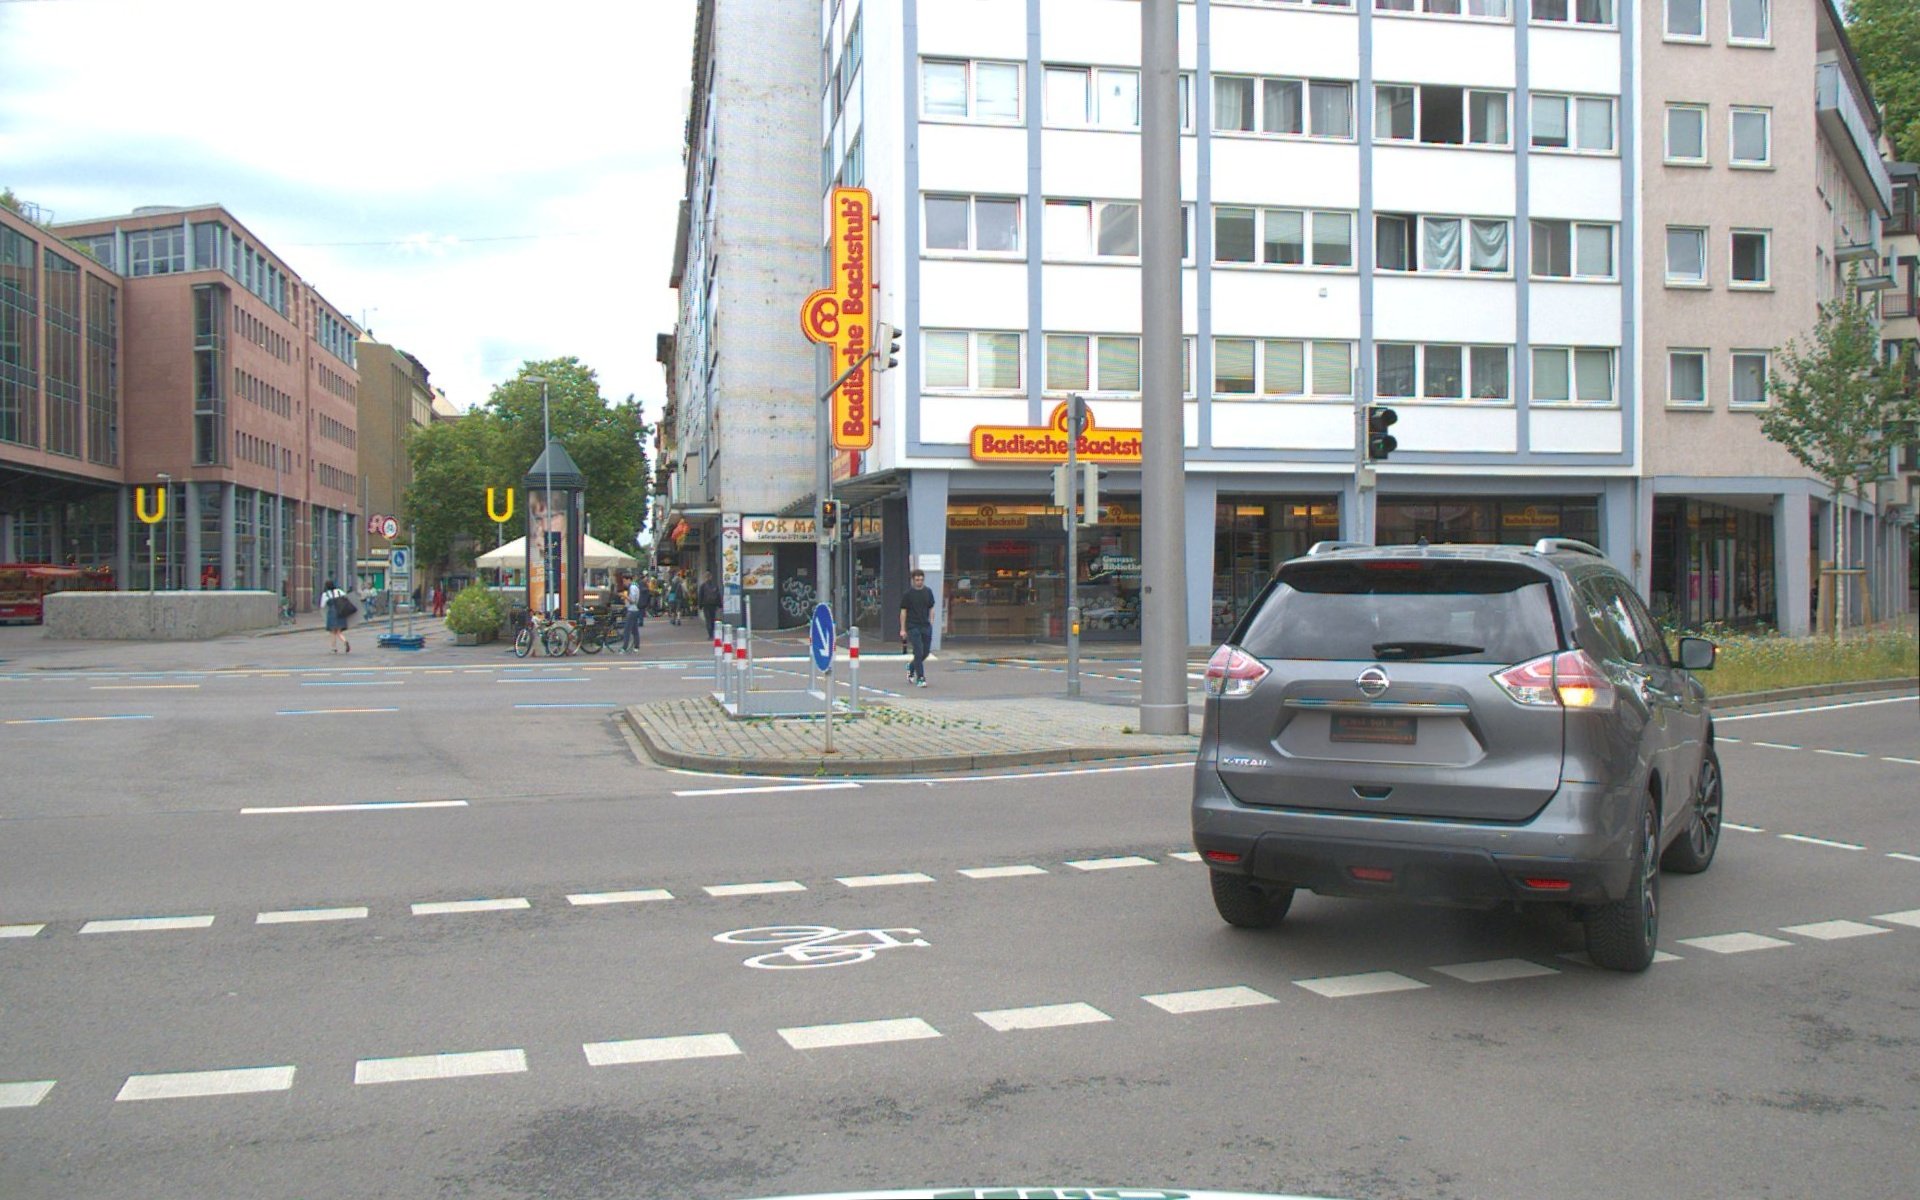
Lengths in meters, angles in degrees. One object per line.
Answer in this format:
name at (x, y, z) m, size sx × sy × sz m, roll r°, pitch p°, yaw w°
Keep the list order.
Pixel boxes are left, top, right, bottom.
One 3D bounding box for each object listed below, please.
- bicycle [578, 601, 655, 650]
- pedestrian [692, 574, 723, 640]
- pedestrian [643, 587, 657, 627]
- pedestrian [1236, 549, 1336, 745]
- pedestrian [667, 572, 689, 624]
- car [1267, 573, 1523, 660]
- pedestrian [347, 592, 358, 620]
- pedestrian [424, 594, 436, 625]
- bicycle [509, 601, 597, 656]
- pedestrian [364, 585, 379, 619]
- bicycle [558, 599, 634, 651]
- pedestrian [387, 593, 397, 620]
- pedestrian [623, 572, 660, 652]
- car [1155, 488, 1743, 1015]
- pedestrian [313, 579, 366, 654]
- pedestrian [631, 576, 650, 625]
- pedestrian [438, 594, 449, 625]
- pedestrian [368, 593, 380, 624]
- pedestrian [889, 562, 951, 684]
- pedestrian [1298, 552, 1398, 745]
bicycle at (-7.761, 0.582, 37.410) m, size 1.663 × 1.084 × 0.437 m, roll 1°, pitch 0°, yaw -5°
pedestrian at (-6.705, 0.178, 43.909) m, size 0.695 × 1.734 × 0.734 m, roll 1°, pitch 0°, yaw 1°
pedestrian at (-13.601, 0.286, 72.525) m, size 0.600 × 1.734 × 0.618 m, roll 1°, pitch 0°, yaw -10°
pedestrian at (3.079, 0.431, 15.663) m, size 0.612 × 1.792 × 0.775 m, roll 1°, pitch 0°, yaw -19°
pedestrian at (-10.124, -0.079, 59.403) m, size 0.725 × 1.853 × 0.660 m, roll -1°, pitch 0°, yaw -13°
car at (8.319, 0.287, 31.728) m, size 4.474 × 1.507 × 1.742 m, roll -1°, pitch 0°, yaw -14°
pedestrian at (-39.082, 0.377, 106.417) m, size 0.591 × 1.744 × 0.652 m, roll 1°, pitch 0°, yaw -18°
pedestrian at (-29.620, 0.535, 92.437) m, size 0.591 × 1.744 × 0.652 m, roll 1°, pitch 0°, yaw -18°
bicycle at (-9.118, 0.638, 37.051) m, size 1.844 × 1.192 × 0.527 m, roll 0°, pitch 0°, yaw -26°
pedestrian at (-26.741, 0.093, 75.192) m, size 0.591 × 1.563 × 0.652 m, roll 1°, pitch 0°, yaw -18°
bicycle at (-8.354, 0.573, 37.950) m, size 1.669 × 1.192 × 0.435 m, roll 0°, pitch 0°, yaw -18°
pedestrian at (-35.756, 0.409, 104.101) m, size 0.591 × 1.744 × 0.652 m, roll 1°, pitch 0°, yaw -18°
pedestrian at (-7.140, 0.273, 37.069) m, size 0.721 × 1.776 × 0.659 m, roll 1°, pitch 0°, yaw -19°
car at (2.676, 0.510, 8.117) m, size 1.828 × 1.806 × 4.559 m, roll 1°, pitch 0°, yaw 29°
pedestrian at (-14.552, 0.370, 38.818) m, size 0.906 × 1.734 × 0.735 m, roll 1°, pitch 0°, yaw 8°
pedestrian at (-11.506, 0.014, 59.585) m, size 0.631 × 1.734 × 0.557 m, roll 1°, pitch 0°, yaw -10°
pedestrian at (-28.963, 0.540, 92.690) m, size 0.591 × 1.744 × 0.652 m, roll 1°, pitch 0°, yaw -18°
pedestrian at (-33.415, 0.484, 94.266) m, size 0.591 × 1.744 × 0.652 m, roll 1°, pitch 0°, yaw -18°
pedestrian at (-0.629, 0.352, 25.906) m, size 0.702 × 1.864 × 1.011 m, roll 1°, pitch 0°, yaw -19°
pedestrian at (3.717, 0.450, 15.864) m, size 0.612 × 1.792 × 0.775 m, roll 1°, pitch 0°, yaw -19°
